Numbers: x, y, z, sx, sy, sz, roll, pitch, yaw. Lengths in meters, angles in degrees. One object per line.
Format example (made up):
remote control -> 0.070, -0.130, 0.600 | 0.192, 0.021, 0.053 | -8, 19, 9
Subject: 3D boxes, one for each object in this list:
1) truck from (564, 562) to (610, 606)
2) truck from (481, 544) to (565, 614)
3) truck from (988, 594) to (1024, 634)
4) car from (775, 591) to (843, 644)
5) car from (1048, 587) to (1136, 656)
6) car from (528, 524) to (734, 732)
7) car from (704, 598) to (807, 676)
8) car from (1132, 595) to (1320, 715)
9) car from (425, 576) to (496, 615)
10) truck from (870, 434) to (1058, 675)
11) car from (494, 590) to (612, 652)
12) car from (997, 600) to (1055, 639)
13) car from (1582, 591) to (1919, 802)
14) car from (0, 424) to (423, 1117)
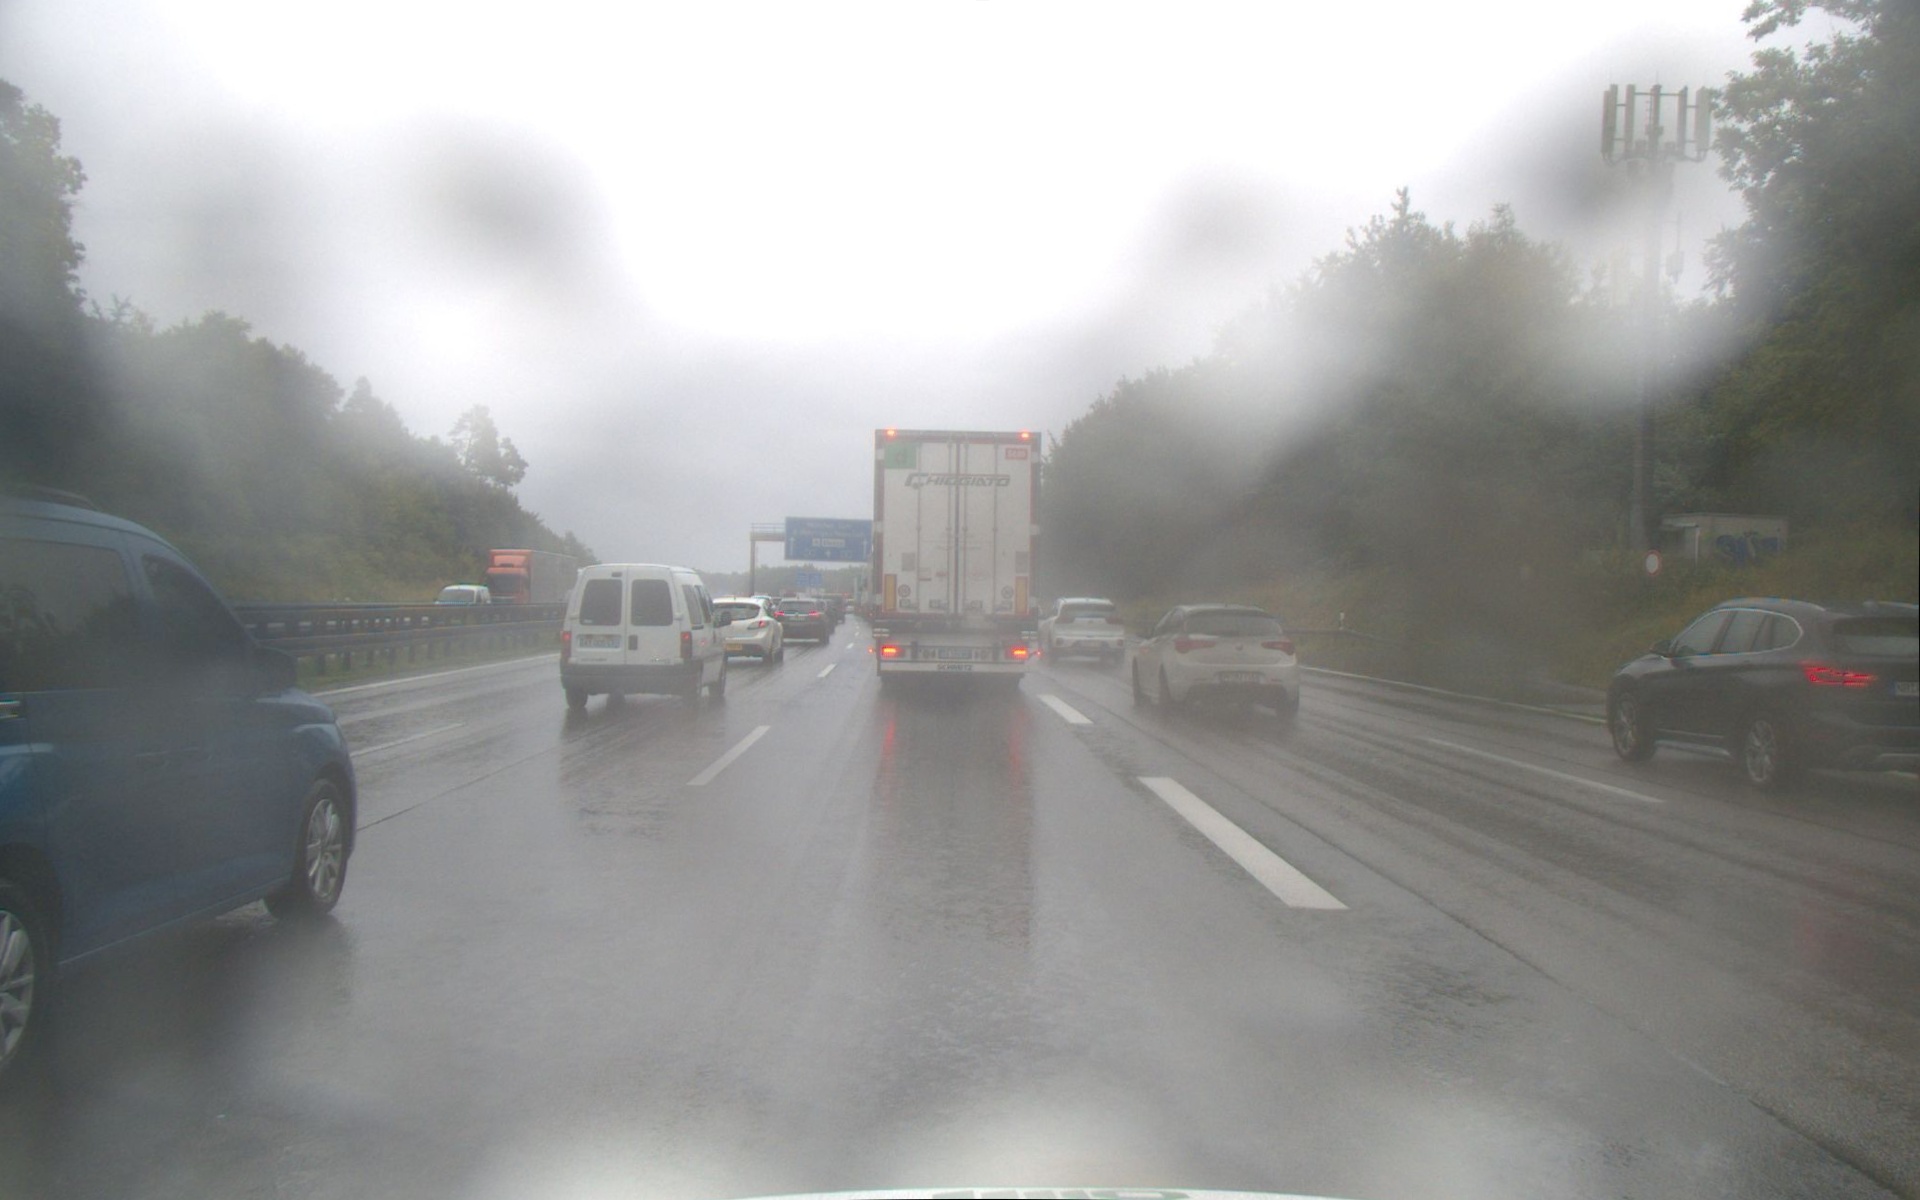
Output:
truck -> -33.962, -1.472, 150.731 | 2.959, 3.884, 6.261 | 0, 0, -2
truck -> -26.289, -1.202, 99.948 | 2.649, 4.000, 10.024 | 0, 0, -2
truck -> 3.522, 1.034, 127.996 | 2.536, 2.992, 6.455 | 1, 0, 0
car -> -4.883, 0.543, 54.004 | 1.808, 1.619, 4.466 | 1, 0, 0
car -> 3.125, 0.484, 39.916 | 1.807, 1.549, 4.344 | 1, 0, 1
car -> -4.529, 0.345, 23.567 | 2.169, 2.618, 5.012 | 1, 0, -3
car -> -4.553, 0.782, 37.413 | 1.808, 1.619, 4.071 | 1, 0, 0
car -> 3.537, 0.677, 22.758 | 1.851, 1.450, 4.482 | 1, 0, 0
car -> -21.486, -0.190, 71.231 | 1.822, 1.624, 4.000 | 0, 0, 0
truck -> -0.033, -0.653, 30.705 | 2.814, 3.624, 11.299 | 1, 0, -1
car -> -10.512, 0.505, 43.066 | 2.048, 1.531, 4.752 | 0, 0, -2
car -> 2.532, 0.724, 64.141 | 1.966, 1.418, 4.567 | 1, 0, -1
car -> 7.543, 0.735, 15.117 | 1.949, 1.611, 4.767 | 1, 0, 0
car -> -3.788, 0.462, 5.599 | 2.223, 1.945, 5.016 | 1, 0, 1
